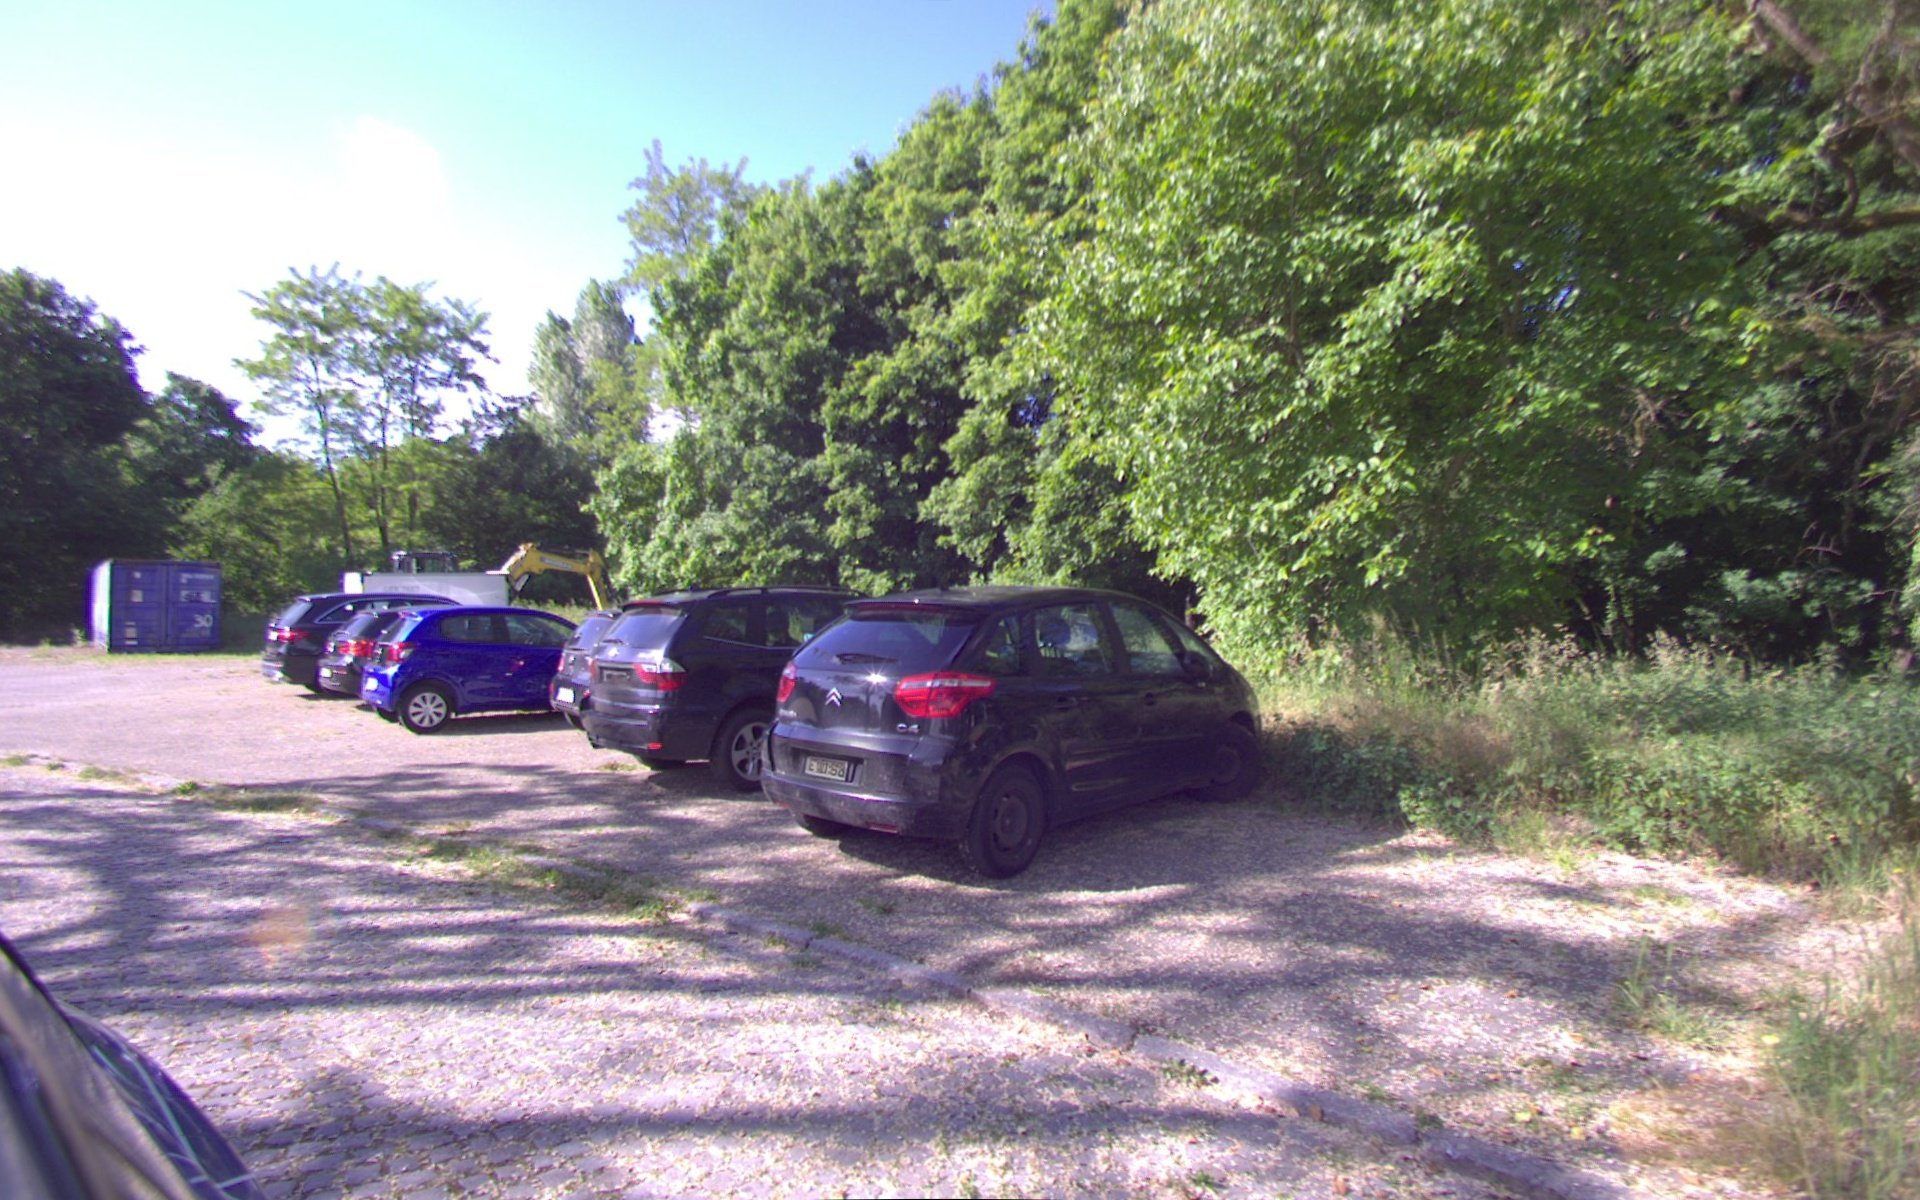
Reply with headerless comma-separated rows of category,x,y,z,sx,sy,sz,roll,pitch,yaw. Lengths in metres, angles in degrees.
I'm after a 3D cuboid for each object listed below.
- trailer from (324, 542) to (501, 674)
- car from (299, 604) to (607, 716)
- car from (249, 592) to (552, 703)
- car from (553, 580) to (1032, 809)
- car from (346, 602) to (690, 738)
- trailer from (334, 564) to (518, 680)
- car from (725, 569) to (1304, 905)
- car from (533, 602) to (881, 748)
trailer,-11.621,0.106,21.497,2.806,2.557,2.269,-3,2,-41
car,-7.452,0.786,15.047,3.732,1.422,1.897,0,0,-43
car,-9.206,0.685,16.827,4.068,1.602,1.973,0,0,-43
car,-1.390,0.667,9.645,1.881,1.643,4.211,0,2,44
car,-5.635,0.779,13.128,3.731,1.469,1.788,0,0,-42
trailer,-10.339,0.387,19.632,2.806,2.066,1.827,0,0,-41
car,0.655,0.647,7.213,1.830,1.601,4.213,-1,2,43
car,-2.966,0.771,12.134,3.664,1.462,1.748,0,0,-37
